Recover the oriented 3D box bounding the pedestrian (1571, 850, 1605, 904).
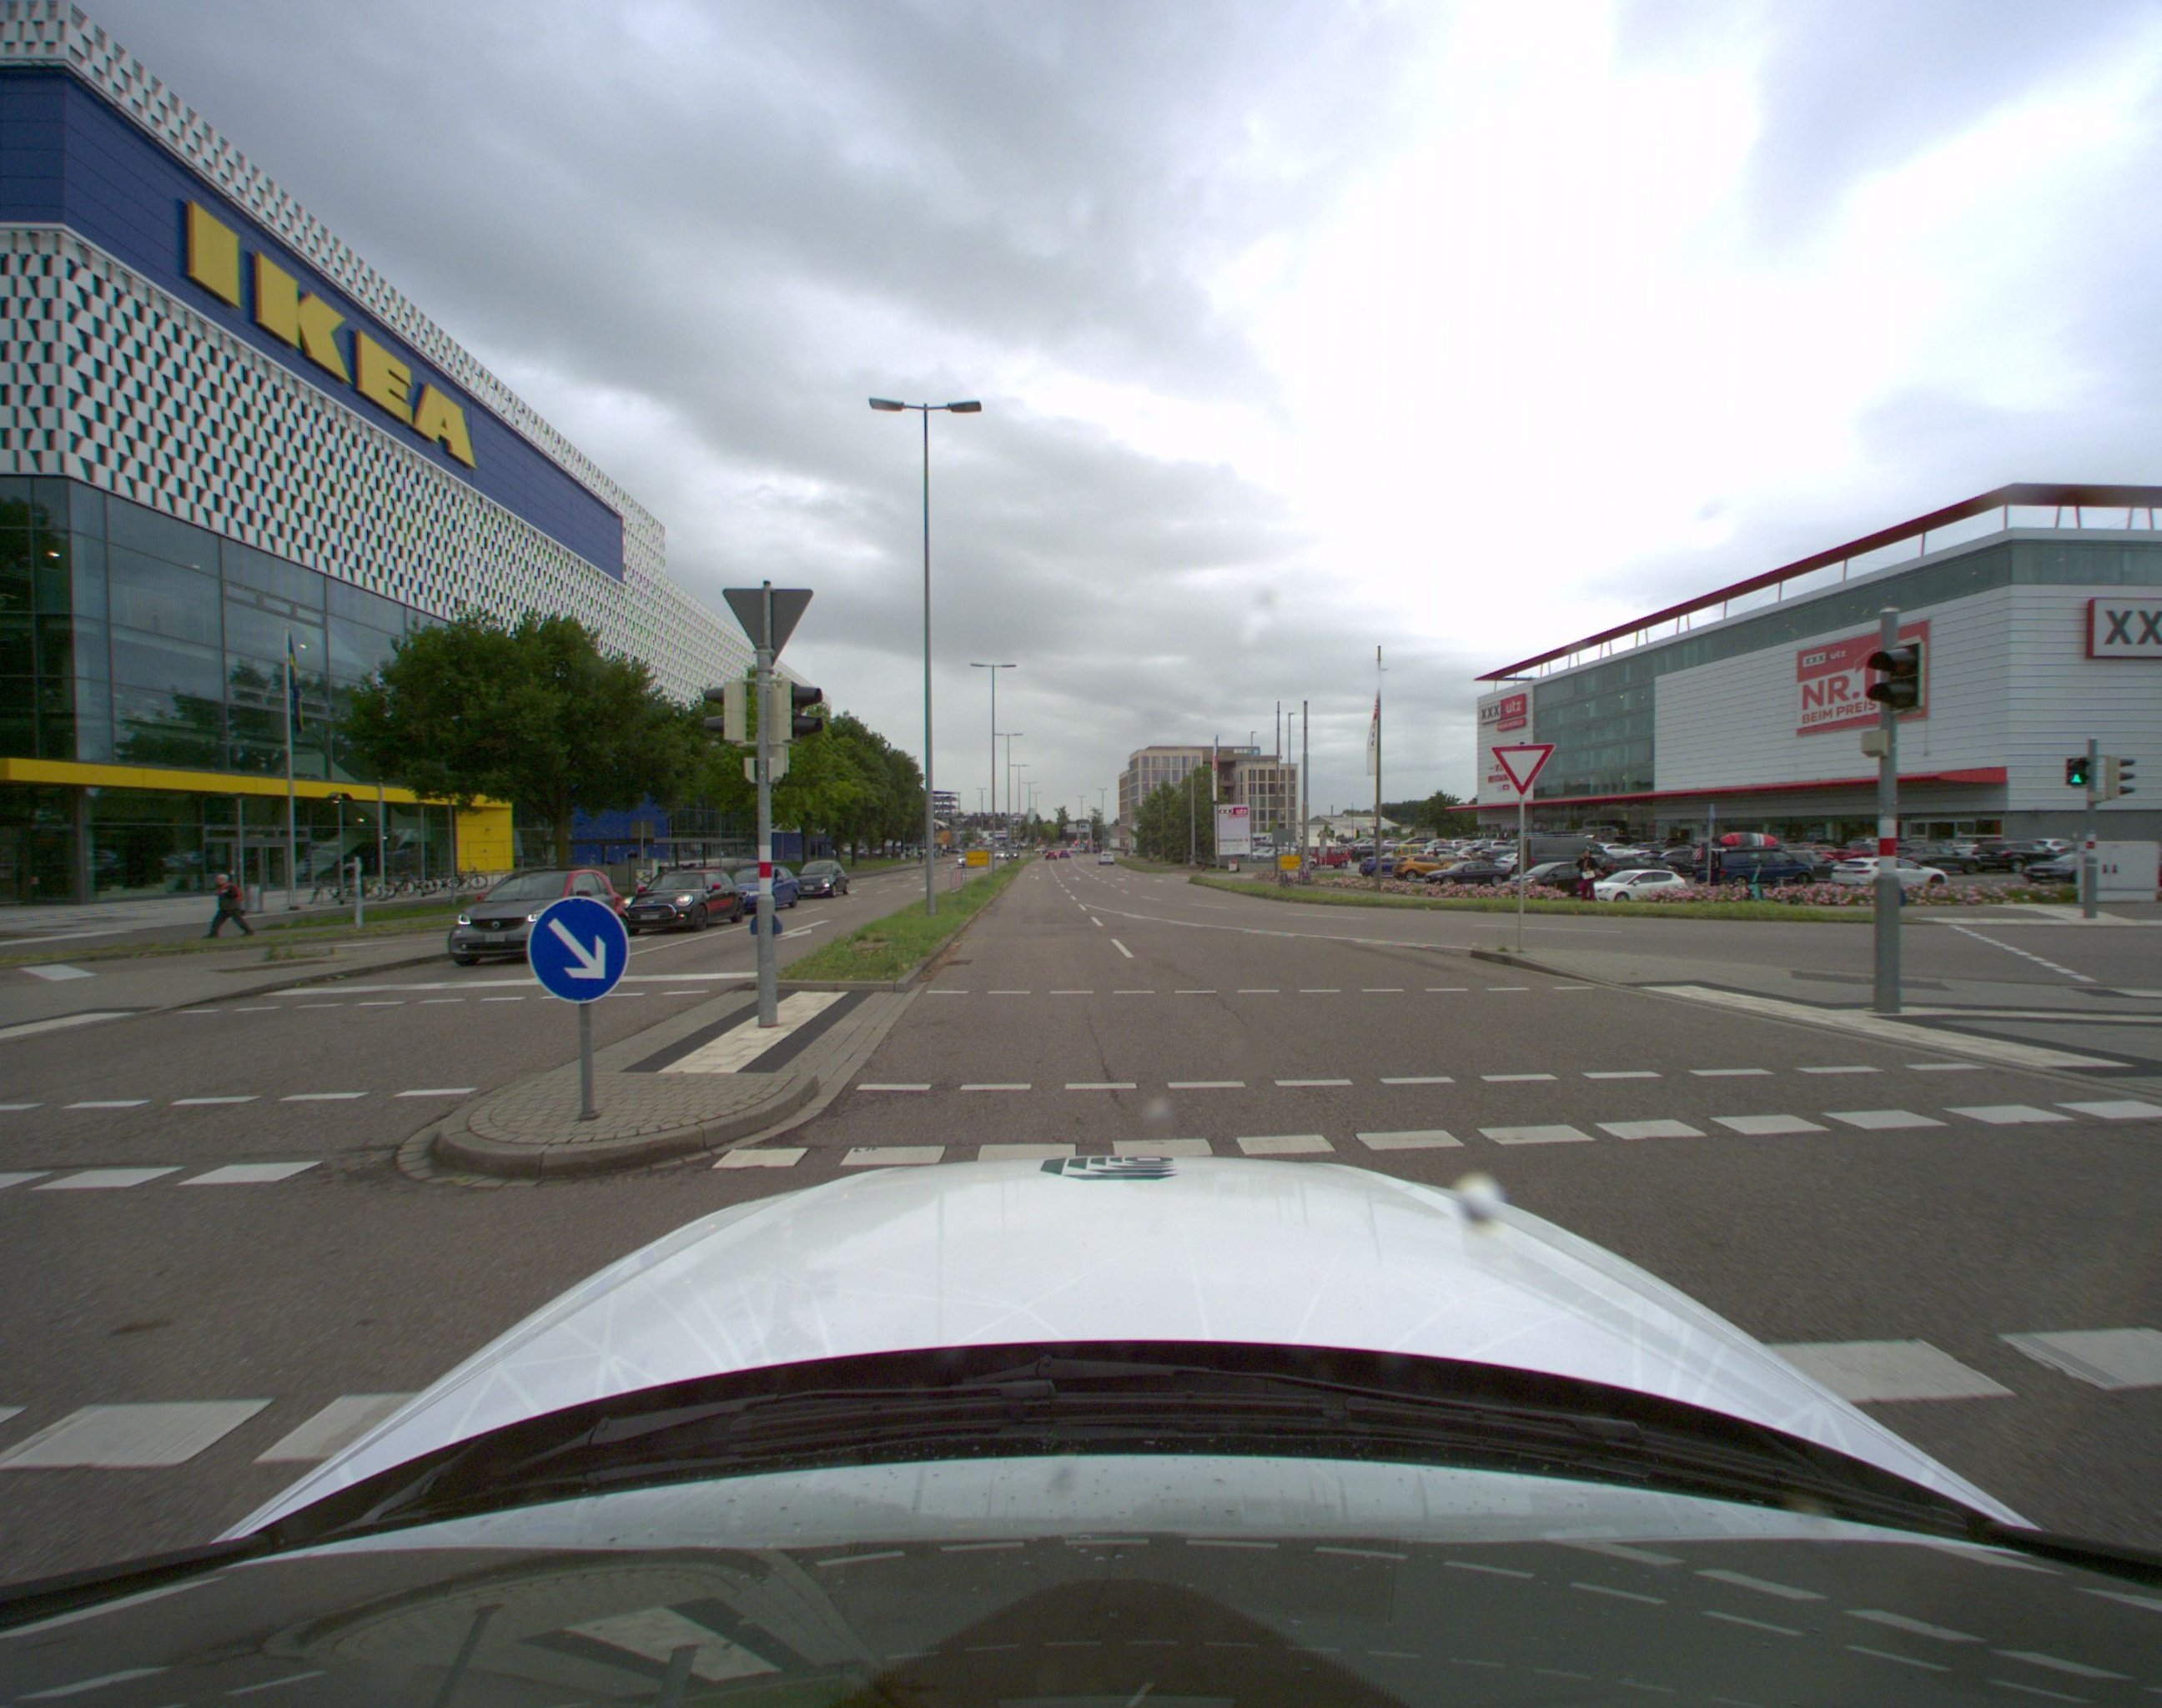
[{"bbox_3d":[15.566,0.706,25.026,0.708,1.597,0.787,-2,-2,20],"label":"pedestrian"}]

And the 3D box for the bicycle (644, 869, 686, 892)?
[{"bbox_3d":[-22.176,1.404,43.424,1.889,1.157,0.593,1,0,-3],"label":"bicycle"}]

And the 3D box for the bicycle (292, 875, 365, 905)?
[{"bbox_3d":[-29.747,1.411,32.224,2.022,1.157,0.590,1,0,-20],"label":"bicycle"}]

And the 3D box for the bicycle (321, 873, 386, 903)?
[{"bbox_3d":[-30.003,1.397,33.601,2.012,1.157,0.593,1,0,-5],"label":"bicycle"}]

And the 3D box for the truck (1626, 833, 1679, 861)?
[{"bbox_3d":[50.516,-0.614,72.009,3.562,2.386,1.737,0,0,-4],"label":"truck"}]

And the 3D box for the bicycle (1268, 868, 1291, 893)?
[{"bbox_3d":[8.688,1.152,35.725,0.660,1.048,1.693,-1,0,4],"label":"bicycle"}]

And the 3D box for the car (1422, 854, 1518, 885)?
[{"bbox_3d":[21.737,0.843,45.587,4.512,1.582,1.770,0,3,-1],"label":"car"}]

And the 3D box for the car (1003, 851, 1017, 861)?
[{"bbox_3d":[-11.019,0.251,126.510,1.927,1.486,4.434,-2,1,-3],"label":"car"}]

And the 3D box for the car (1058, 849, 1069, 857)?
[{"bbox_3d":[-3.162,-0.200,147.224,1.830,1.514,3.998,0,1,-2],"label":"car"}]

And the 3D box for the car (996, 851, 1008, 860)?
[{"bbox_3d":[-13.929,0.242,143.294,1.861,1.454,4.165,-2,0,-2],"label":"car"}]

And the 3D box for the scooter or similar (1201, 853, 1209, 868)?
[{"bbox_3d":[12.129,0.646,79.839,0.647,1.421,1.822,-1,0,6],"label":"scooter or similar"}]

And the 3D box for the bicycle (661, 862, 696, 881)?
[{"bbox_3d":[-24.439,1.077,49.462,1.805,1.082,0.593,1,0,-3],"label":"bicycle"}]

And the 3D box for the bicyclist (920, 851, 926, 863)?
[{"bbox_3d":[-20.852,0.363,107.360,0.639,1.577,0.999,1,1,-3],"label":"bicyclist"}]

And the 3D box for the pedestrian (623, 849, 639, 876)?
[{"bbox_3d":[-30.444,0.567,55.083,0.675,1.745,0.807,0,1,-3],"label":"pedestrian"}]

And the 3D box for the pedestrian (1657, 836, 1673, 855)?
[{"bbox_3d":[58.441,-0.863,81.506,0.951,1.869,0.963,-1,3,-24],"label":"pedestrian"}]

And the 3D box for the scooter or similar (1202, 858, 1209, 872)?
[{"bbox_3d":[10.969,0.925,71.764,0.369,1.190,1.247,-1,1,-3],"label":"scooter or similar"}]

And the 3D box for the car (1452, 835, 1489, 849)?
[{"bbox_3d":[45.107,-1.342,94.341,3.555,1.587,1.740,0,0,1],"label":"car"}]

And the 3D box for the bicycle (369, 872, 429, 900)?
[{"bbox_3d":[-29.992,1.401,35.814,2.012,1.157,0.593,1,0,-5],"label":"bicycle"}]

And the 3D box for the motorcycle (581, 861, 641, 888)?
[{"bbox_3d":[-24.296,1.067,42.132,2.496,1.355,0.796,1,0,-16],"label":"motorcycle"}]

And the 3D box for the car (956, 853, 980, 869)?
[{"bbox_3d":[-11.839,0.690,85.487,1.926,1.519,4.179,-3,0,-2],"label":"car"}]

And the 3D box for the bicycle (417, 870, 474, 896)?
[{"bbox_3d":[-30.049,1.372,38.541,2.020,1.157,0.590,1,0,-16],"label":"bicycle"}]

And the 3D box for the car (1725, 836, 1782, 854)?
[{"bbox_3d":[61.785,-0.848,74.867,3.785,1.553,1.829,0,3,-4],"label":"car"}]

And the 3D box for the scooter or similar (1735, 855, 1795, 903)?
[{"bbox_3d":[17.990,0.636,21.435,0.348,1.233,1.151,1,-1,-41],"label":"scooter or similar"}]

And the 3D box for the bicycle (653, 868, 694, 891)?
[{"bbox_3d":[-22.258,1.392,44.500,1.889,1.157,0.593,1,0,-3],"label":"bicycle"}]

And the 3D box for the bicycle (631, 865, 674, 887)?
[{"bbox_3d":[-24.021,1.210,45.677,2.011,1.157,0.593,1,0,-3],"label":"bicycle"}]

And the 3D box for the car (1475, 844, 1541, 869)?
[{"bbox_3d":[30.945,0.165,59.102,3.884,1.653,1.829,-2,2,-5],"label":"car"}]

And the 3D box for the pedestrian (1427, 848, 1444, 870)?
[{"bbox_3d":[28.893,0.418,66.338,0.937,1.719,0.884,0,2,-4],"label":"pedestrian"}]

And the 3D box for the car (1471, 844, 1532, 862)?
[{"bbox_3d":[35.507,-0.082,68.834,4.227,1.468,1.739,0,3,-1],"label":"car"}]

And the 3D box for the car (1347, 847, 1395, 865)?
[{"bbox_3d":[29.749,0.212,83.671,4.298,1.743,1.889,0,2,0],"label":"car"}]

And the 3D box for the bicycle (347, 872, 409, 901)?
[{"bbox_3d":[-29.950,1.382,34.710,2.012,1.157,0.593,1,0,-5],"label":"bicycle"}]

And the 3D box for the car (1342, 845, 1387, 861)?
[{"bbox_3d":[29.964,-0.138,86.167,4.159,1.663,1.833,0,1,0],"label":"car"}]

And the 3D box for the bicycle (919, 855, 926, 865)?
[{"bbox_3d":[-20.877,0.786,107.345,0.641,1.251,2.054,1,1,-3],"label":"bicycle"}]

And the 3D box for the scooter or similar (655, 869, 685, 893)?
[{"bbox_3d":[-21.123,1.379,41.851,0.419,1.148,1.357,1,0,29],"label":"scooter or similar"}]

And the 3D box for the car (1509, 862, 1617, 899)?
[{"bbox_3d":[22.514,1.200,38.148,4.082,1.583,1.768,0,2,-3],"label":"car"}]

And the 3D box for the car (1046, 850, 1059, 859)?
[{"bbox_3d":[-4.436,0.113,127.898,1.983,1.428,4.236,0,0,-3],"label":"car"}]

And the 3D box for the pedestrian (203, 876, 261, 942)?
[{"bbox_3d":[-21.624,1.380,20.759,0.632,1.642,0.808,0,-1,-6],"label":"pedestrian"}]

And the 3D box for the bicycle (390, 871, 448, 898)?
[{"bbox_3d":[-30.030,1.363,36.962,2.012,1.157,0.593,1,0,-5],"label":"bicycle"}]

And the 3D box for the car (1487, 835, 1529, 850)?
[{"bbox_3d":[45.535,-1.265,86.823,3.555,1.587,1.740,0,0,1],"label":"car"}]

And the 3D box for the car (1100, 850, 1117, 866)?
[{"bbox_3d":[3.423,0.510,101.409,1.987,1.751,4.180,0,3,-1],"label":"car"}]

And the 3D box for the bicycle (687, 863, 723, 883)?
[{"bbox_3d":[-22.966,1.170,49.732,2.002,1.157,0.595,2,0,11],"label":"bicycle"}]
